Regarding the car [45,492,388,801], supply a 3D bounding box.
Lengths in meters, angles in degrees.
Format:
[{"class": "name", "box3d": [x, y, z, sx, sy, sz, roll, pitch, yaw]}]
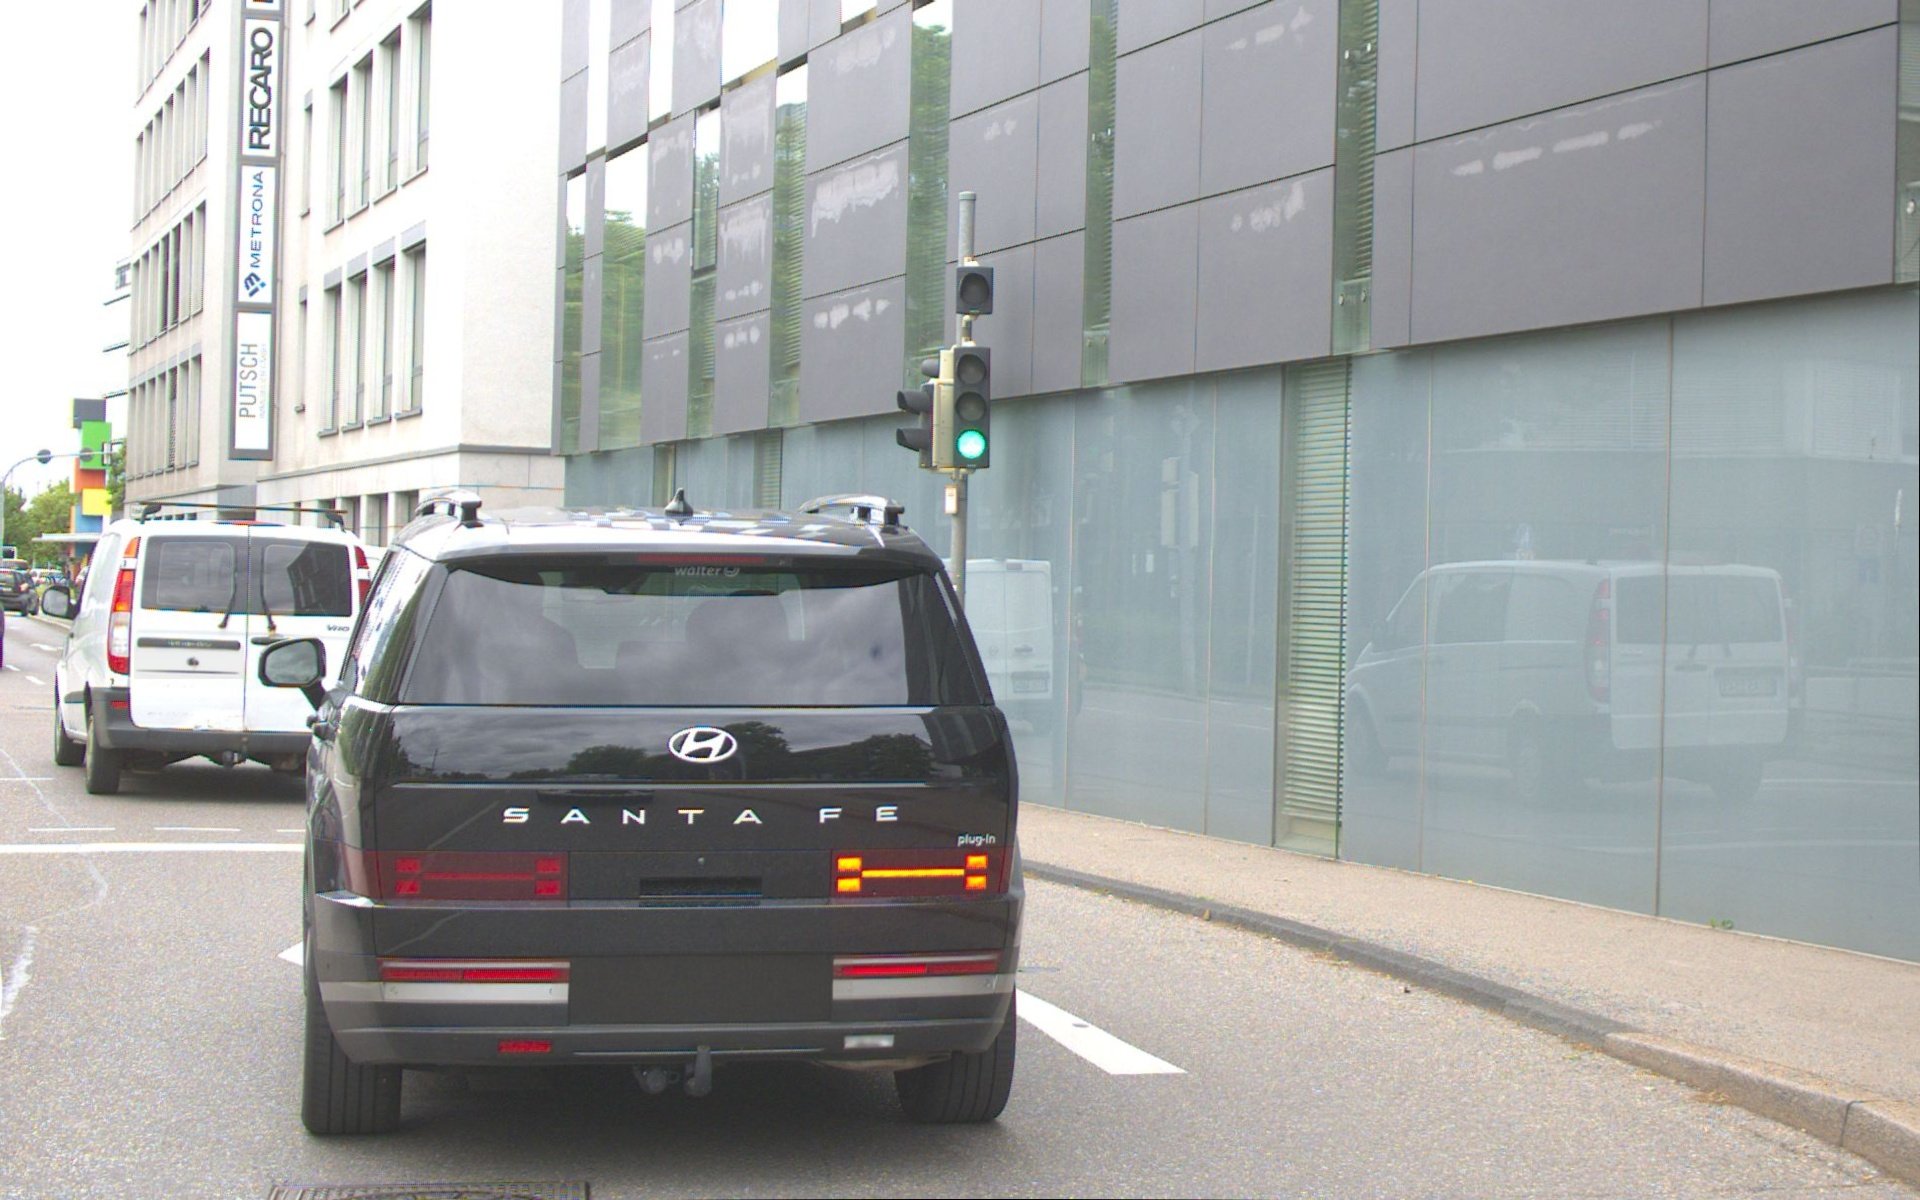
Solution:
[{"class": "car", "box3d": [-5.429, 0.288, 24.668, 1.931, 1.987, 4.536, 1, 0, -18]}]

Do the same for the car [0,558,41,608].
[{"class": "car", "box3d": [-31.359, -0.586, 113.756, 1.759, 1.603, 4.189, 1, 0, -15]}]

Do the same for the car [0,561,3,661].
[{"class": "car", "box3d": [-15.789, 0.174, 53.222, 1.759, 1.603, 4.189, 1, 0, -14]}]

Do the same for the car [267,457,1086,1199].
[{"class": "car", "box3d": [-1.086, 0.542, 10.348, 1.908, 1.743, 4.398, 1, 0, -12]}]

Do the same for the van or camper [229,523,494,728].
[{"class": "van or camper", "box3d": [-6.209, 0.222, 35.272, 1.993, 1.909, 4.333, 2, 0, -18]}]
